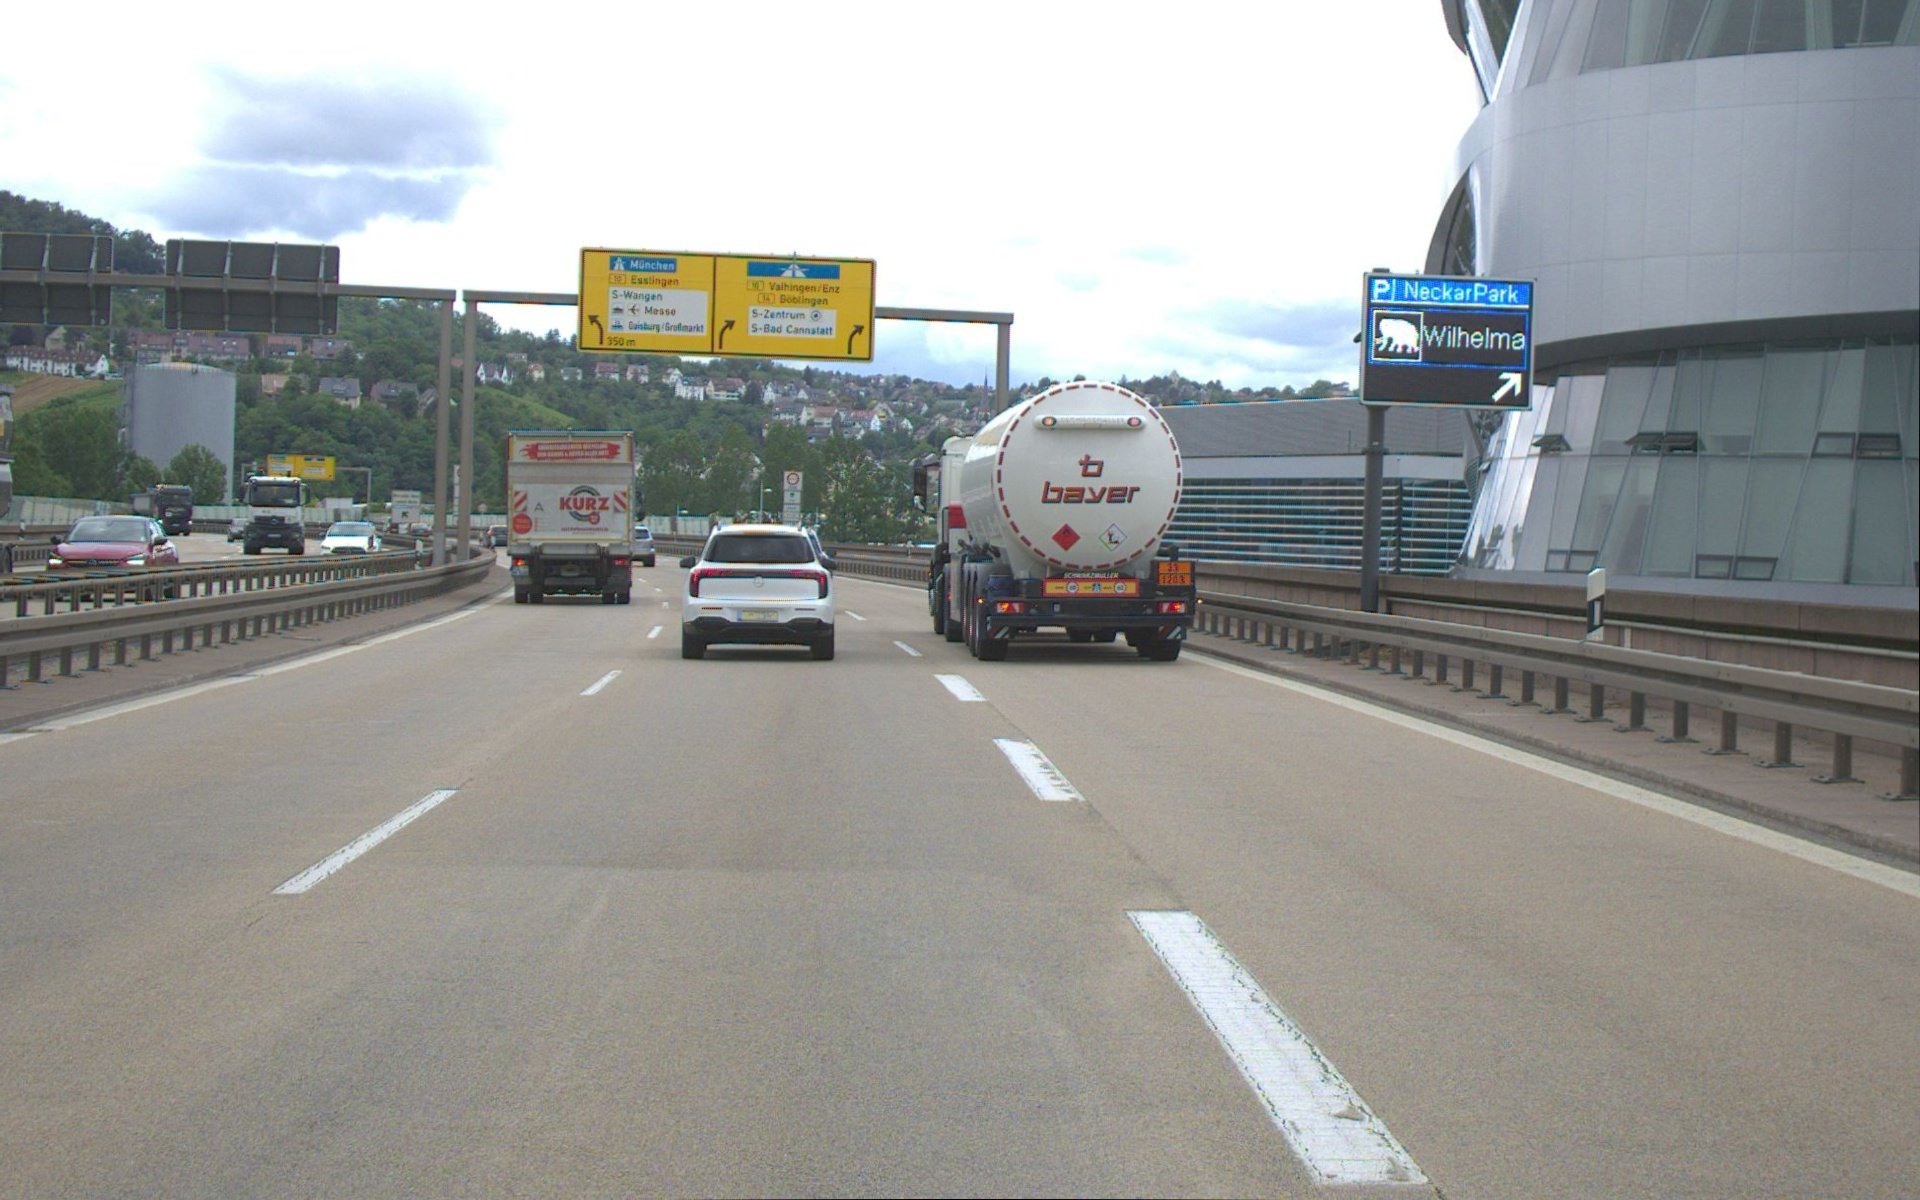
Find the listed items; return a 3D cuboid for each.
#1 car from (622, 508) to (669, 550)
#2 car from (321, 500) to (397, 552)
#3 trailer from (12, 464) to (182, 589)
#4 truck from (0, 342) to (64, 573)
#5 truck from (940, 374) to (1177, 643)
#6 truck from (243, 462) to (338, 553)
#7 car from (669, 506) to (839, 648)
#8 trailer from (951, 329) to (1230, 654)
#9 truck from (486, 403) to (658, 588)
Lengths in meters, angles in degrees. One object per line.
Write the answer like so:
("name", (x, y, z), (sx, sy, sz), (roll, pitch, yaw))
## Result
("car", (-13.017, -2.941, 142.478), (1.683, 1.644, 4.360), (2, 0, -2))
("car", (-19.265, -2.355, 110.344), (1.993, 1.601, 4.808), (1, 0, -5))
("trailer", (-14.519, -1.223, 58.071), (1.993, 2.007, 4.000), (1, 0, -2))
("truck", (-18.438, -2.535, 61.281), (3.056, 4.051, 8.664), (1, 1, -3))
("truck", (1.337, -1.287, 50.340), (3.014, 3.644, 6.274), (1, 0, -2))
("truck", (-29.167, -3.953, 150.225), (3.056, 3.763, 12.521), (1, 1, -7))
("car", (-2.553, -0.298, 43.334), (1.993, 1.669, 4.408), (1, 0, -2))
("trailer", (1.530, -1.319, 44.619), (3.057, 3.777, 8.304), (1, 1, -1))
("truck", (-8.178, -2.143, 73.449), (3.056, 3.678, 8.305), (1, 1, -3))
